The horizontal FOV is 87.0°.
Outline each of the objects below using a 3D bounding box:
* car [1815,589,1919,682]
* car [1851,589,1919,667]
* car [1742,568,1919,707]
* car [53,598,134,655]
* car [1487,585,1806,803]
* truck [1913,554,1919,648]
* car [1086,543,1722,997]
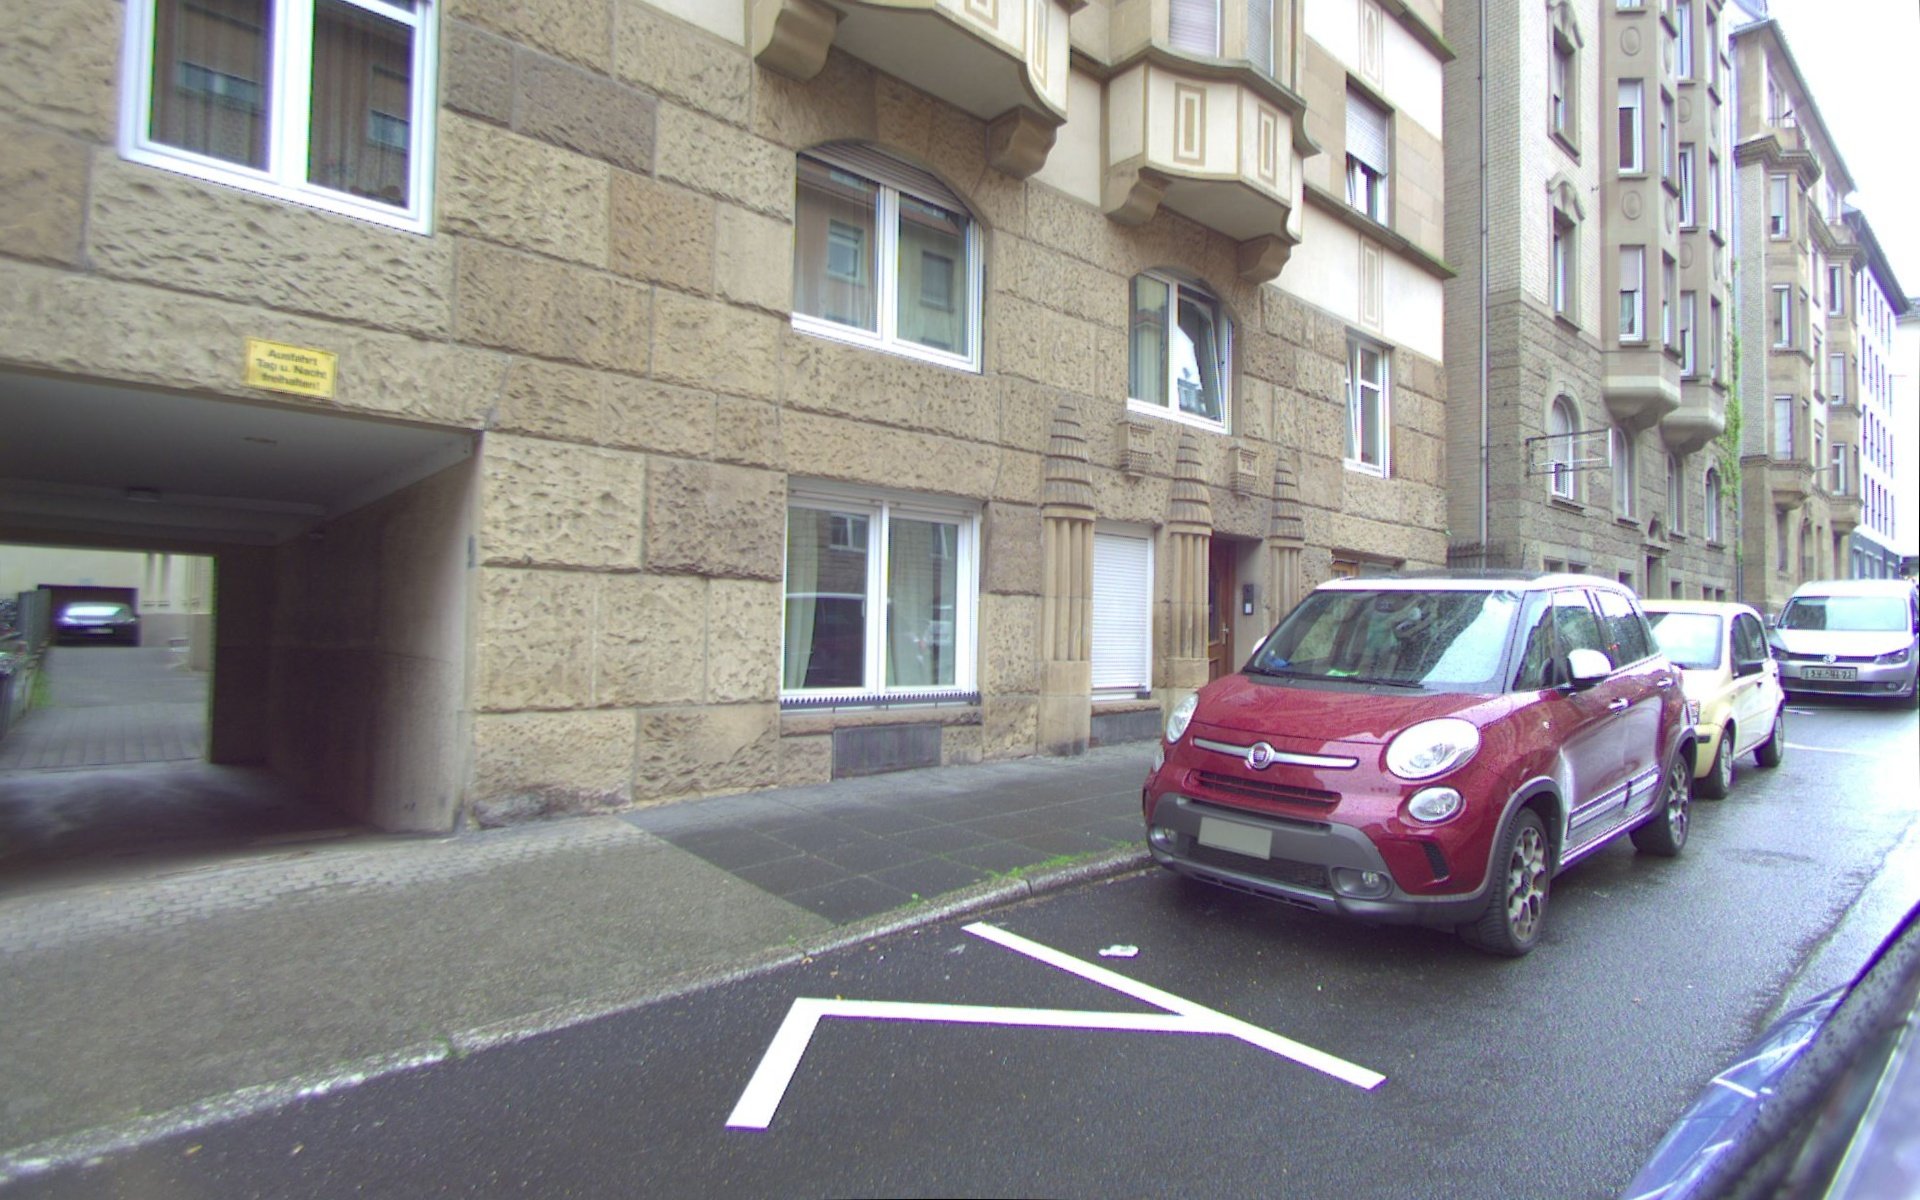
[{"bbox_3d":[17.163,0.599,18.497,3.934,1.549,1.994,0,-1,-45],"label":"car"},{"bbox_3d":[20.469,0.546,21.437,3.860,1.549,1.889,0,-1,-41],"label":"car"},{"bbox_3d":[13.755,0.499,15.506,4.380,1.825,1.966,0,-1,-41],"label":"car"},{"bbox_3d":[-25.194,0.734,29.451,1.692,1.541,4.098,0,-1,-41],"label":"car"},{"bbox_3d":[6.192,0.675,8.988,3.517,1.549,1.578,0,-1,-43],"label":"car"},{"bbox_3d":[29.155,0.021,28.875,6.036,2.568,2.234,0,-1,-41],"label":"truck"},{"bbox_3d":[2.671,0.611,5.626,3.932,1.619,1.804,0,-1,-42],"label":"car"}]
